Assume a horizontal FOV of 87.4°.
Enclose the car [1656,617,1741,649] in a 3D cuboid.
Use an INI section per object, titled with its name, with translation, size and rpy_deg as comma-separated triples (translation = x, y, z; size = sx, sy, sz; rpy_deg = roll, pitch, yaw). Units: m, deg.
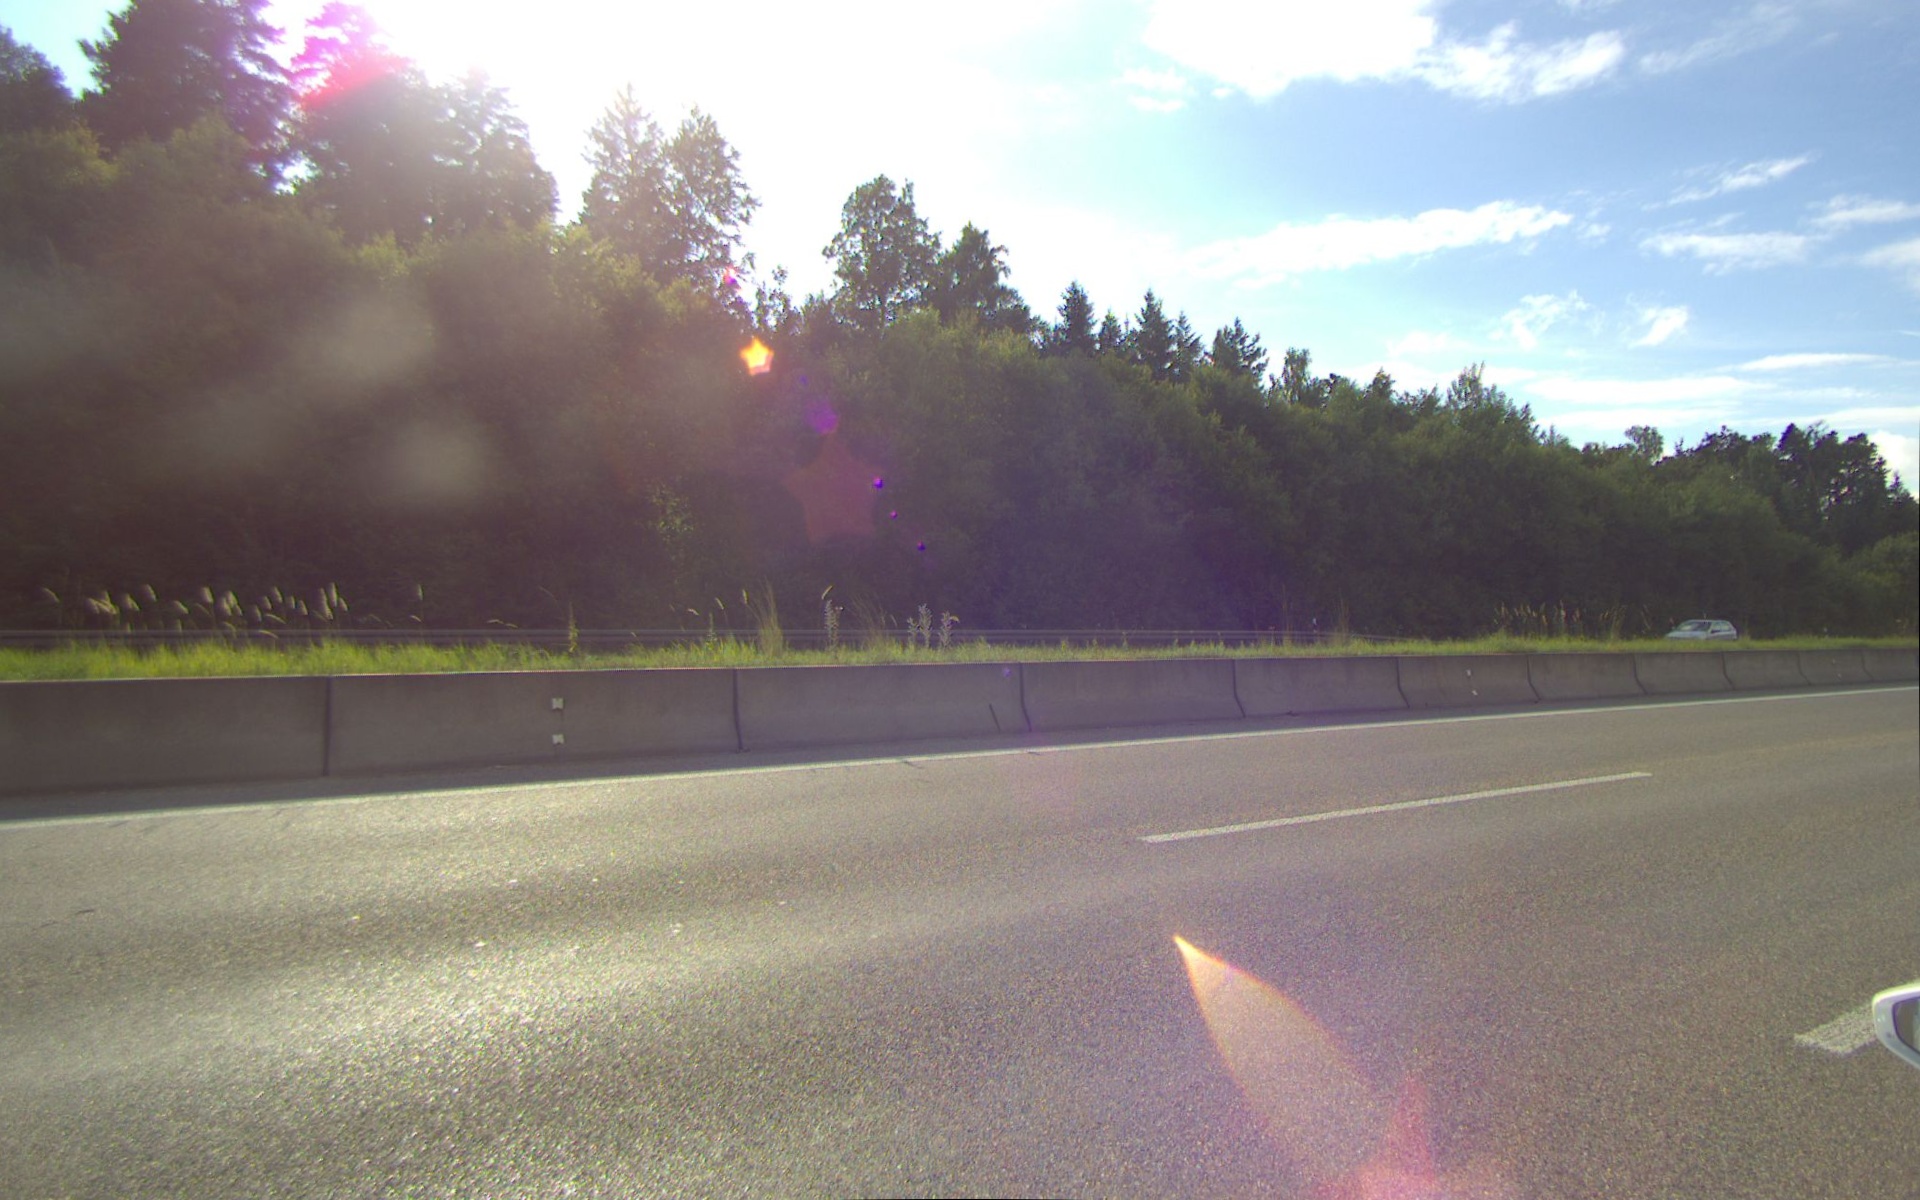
[car]
translation = 32.877, 1.458, 44.731
size = 3.502, 1.307, 1.808
rpy_deg = 1, 0, -30
